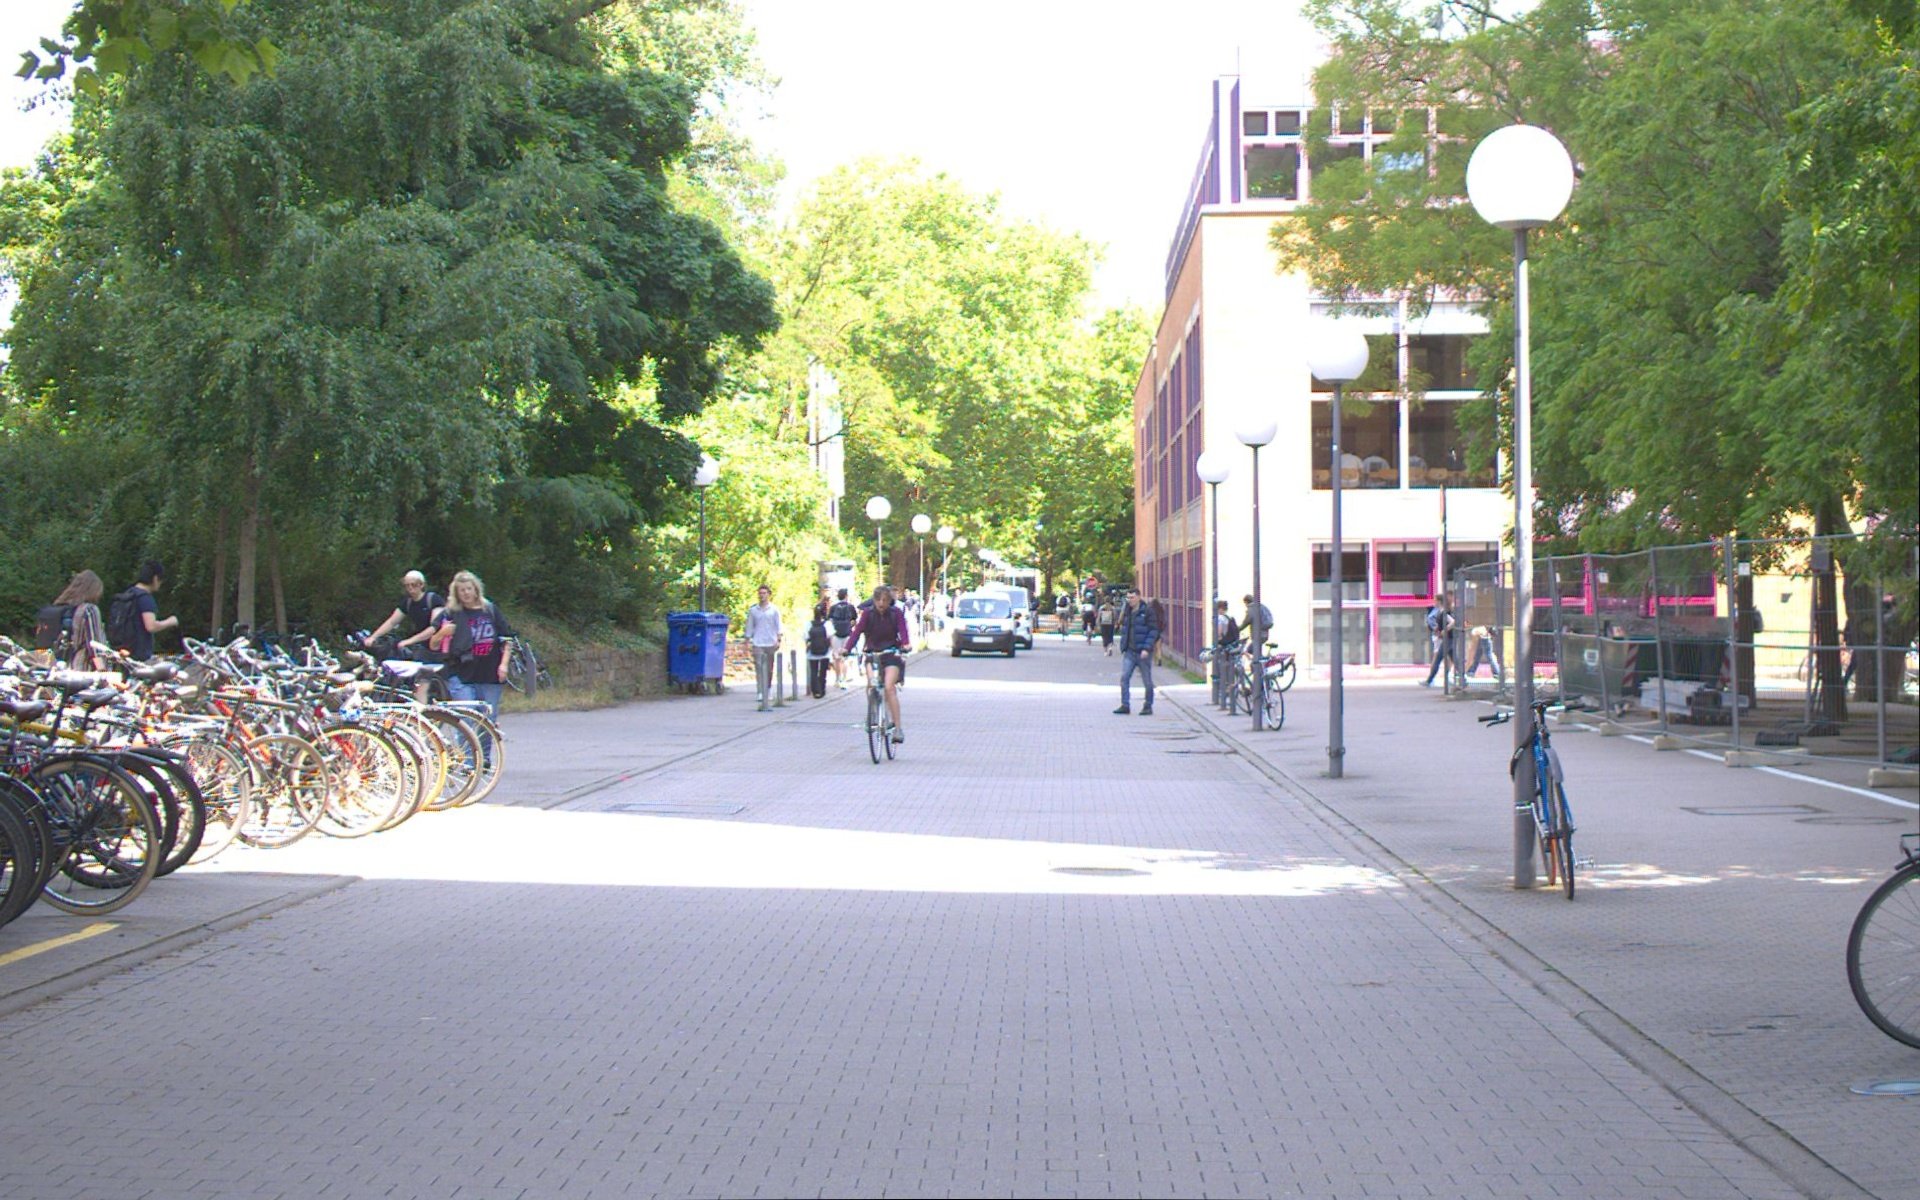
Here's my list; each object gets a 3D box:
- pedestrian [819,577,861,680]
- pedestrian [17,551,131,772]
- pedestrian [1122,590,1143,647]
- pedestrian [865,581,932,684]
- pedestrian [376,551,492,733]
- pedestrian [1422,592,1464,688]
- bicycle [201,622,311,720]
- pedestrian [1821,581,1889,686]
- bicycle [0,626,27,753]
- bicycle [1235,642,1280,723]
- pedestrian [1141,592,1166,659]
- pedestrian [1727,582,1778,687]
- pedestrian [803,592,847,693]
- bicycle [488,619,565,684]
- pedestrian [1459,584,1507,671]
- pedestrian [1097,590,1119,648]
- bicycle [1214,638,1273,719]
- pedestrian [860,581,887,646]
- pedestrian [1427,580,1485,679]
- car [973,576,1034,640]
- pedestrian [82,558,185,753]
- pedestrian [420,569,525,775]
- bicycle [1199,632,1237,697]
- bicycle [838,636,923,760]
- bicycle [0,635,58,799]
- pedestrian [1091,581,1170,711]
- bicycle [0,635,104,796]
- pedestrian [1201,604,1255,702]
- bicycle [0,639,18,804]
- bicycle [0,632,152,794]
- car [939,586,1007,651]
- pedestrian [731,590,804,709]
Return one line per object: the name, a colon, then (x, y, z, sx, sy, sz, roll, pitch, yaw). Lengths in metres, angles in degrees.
pedestrian: (-2.154, 0.509, 62.004, 0.682, 1.838, 0.783, 1, -1, 2)
pedestrian: (-7.041, 0.479, 27.341, 0.684, 1.718, 0.731, 1, 0, 0)
pedestrian: (5.108, 0.540, 101.608, 0.586, 1.667, 0.817, -1, -1, 3)
pedestrian: (-1.131, 0.603, 63.494, 0.725, 1.875, 1.080, 0, -1, 33)
pedestrian: (-5.388, 0.421, 35.234, 0.613, 1.829, 1.047, 0, 0, 36)
pedestrian: (8.514, 0.710, 60.572, 0.697, 1.667, 0.588, -1, -1, 9)
bicycle: (-8.131, 0.813, 39.654, 0.473, 1.043, 1.699, 3, 0, -39)
pedestrian: (14.895, 0.564, 57.235, 0.902, 1.722, 0.685, 0, -2, -3)
bicycle: (-8.662, 0.729, 28.224, 1.902, 1.043, 0.542, 1, -1, -17)
bicycle: (3.646, 1.006, 42.179, 0.395, 0.933, 1.732, -2, 0, 1)
pedestrian: (4.869, 0.655, 86.668, 0.586, 1.667, 0.699, -1, -1, 3)
pedestrian: (13.612, 0.591, 59.047, 0.767, 1.788, 0.588, -1, -1, 9)
pedestrian: (-2.177, 0.679, 55.476, 0.569, 1.605, 0.918, 1, -1, -10)
bicycle: (-6.243, 0.747, 49.591, 0.422, 0.907, 1.738, 0, -1, 17)
pedestrian: (9.777, 0.509, 64.289, 0.780, 1.615, 0.685, 1, -1, -1)
pedestrian: (4.304, 0.553, 100.044, 0.586, 1.667, 0.817, -1, -1, 3)
bicycle: (3.971, 1.096, 48.233, 0.708, 1.089, 1.748, 0, 0, 1)
pedestrian: (-2.448, 0.388, 97.323, 0.682, 1.838, 0.783, 1, -1, 2)
pedestrian: (8.844, 0.533, 61.307, 0.902, 1.722, 0.684, -1, -2, 17)
car: (1.410, 0.229, 109.625, 1.883, 1.967, 5.214, 0, 0, 2)
pedestrian: (-7.444, 0.494, 30.990, 0.684, 1.718, 0.904, 1, 0, 0)
pedestrian: (-4.061, 0.586, 28.621, 0.767, 1.674, 0.907, -1, 1, -14)
bicycle: (4.014, 0.995, 53.487, 0.450, 0.958, 1.740, -2, 0, 1)
bicycle: (-0.763, 0.927, 33.096, 0.771, 1.146, 2.108, -1, -1, -1)
bicycle: (-6.958, 0.771, 23.254, 1.696, 1.080, 0.473, 1, 0, 21)
pedestrian: (2.487, 0.662, 50.098, 0.886, 1.851, 1.031, 1, 0, 18)
bicycle: (-6.809, 0.780, 23.771, 1.720, 1.080, 0.474, 1, 0, 16)
pedestrian: (4.563, 0.902, 58.444, 0.852, 1.646, 0.588, 1, -1, 9)
bicycle: (-7.093, 0.787, 22.745, 1.696, 1.080, 0.473, 1, 0, 21)
bicycle: (-6.593, 0.783, 24.270, 1.695, 1.106, 0.474, 1, 0, 14)
car: (0.390, 0.483, 96.047, 1.790, 1.756, 4.481, 0, 0, 2)
pedestrian: (-3.017, 0.768, 53.876, 0.783, 1.839, 1.118, 1, 0, -23)
